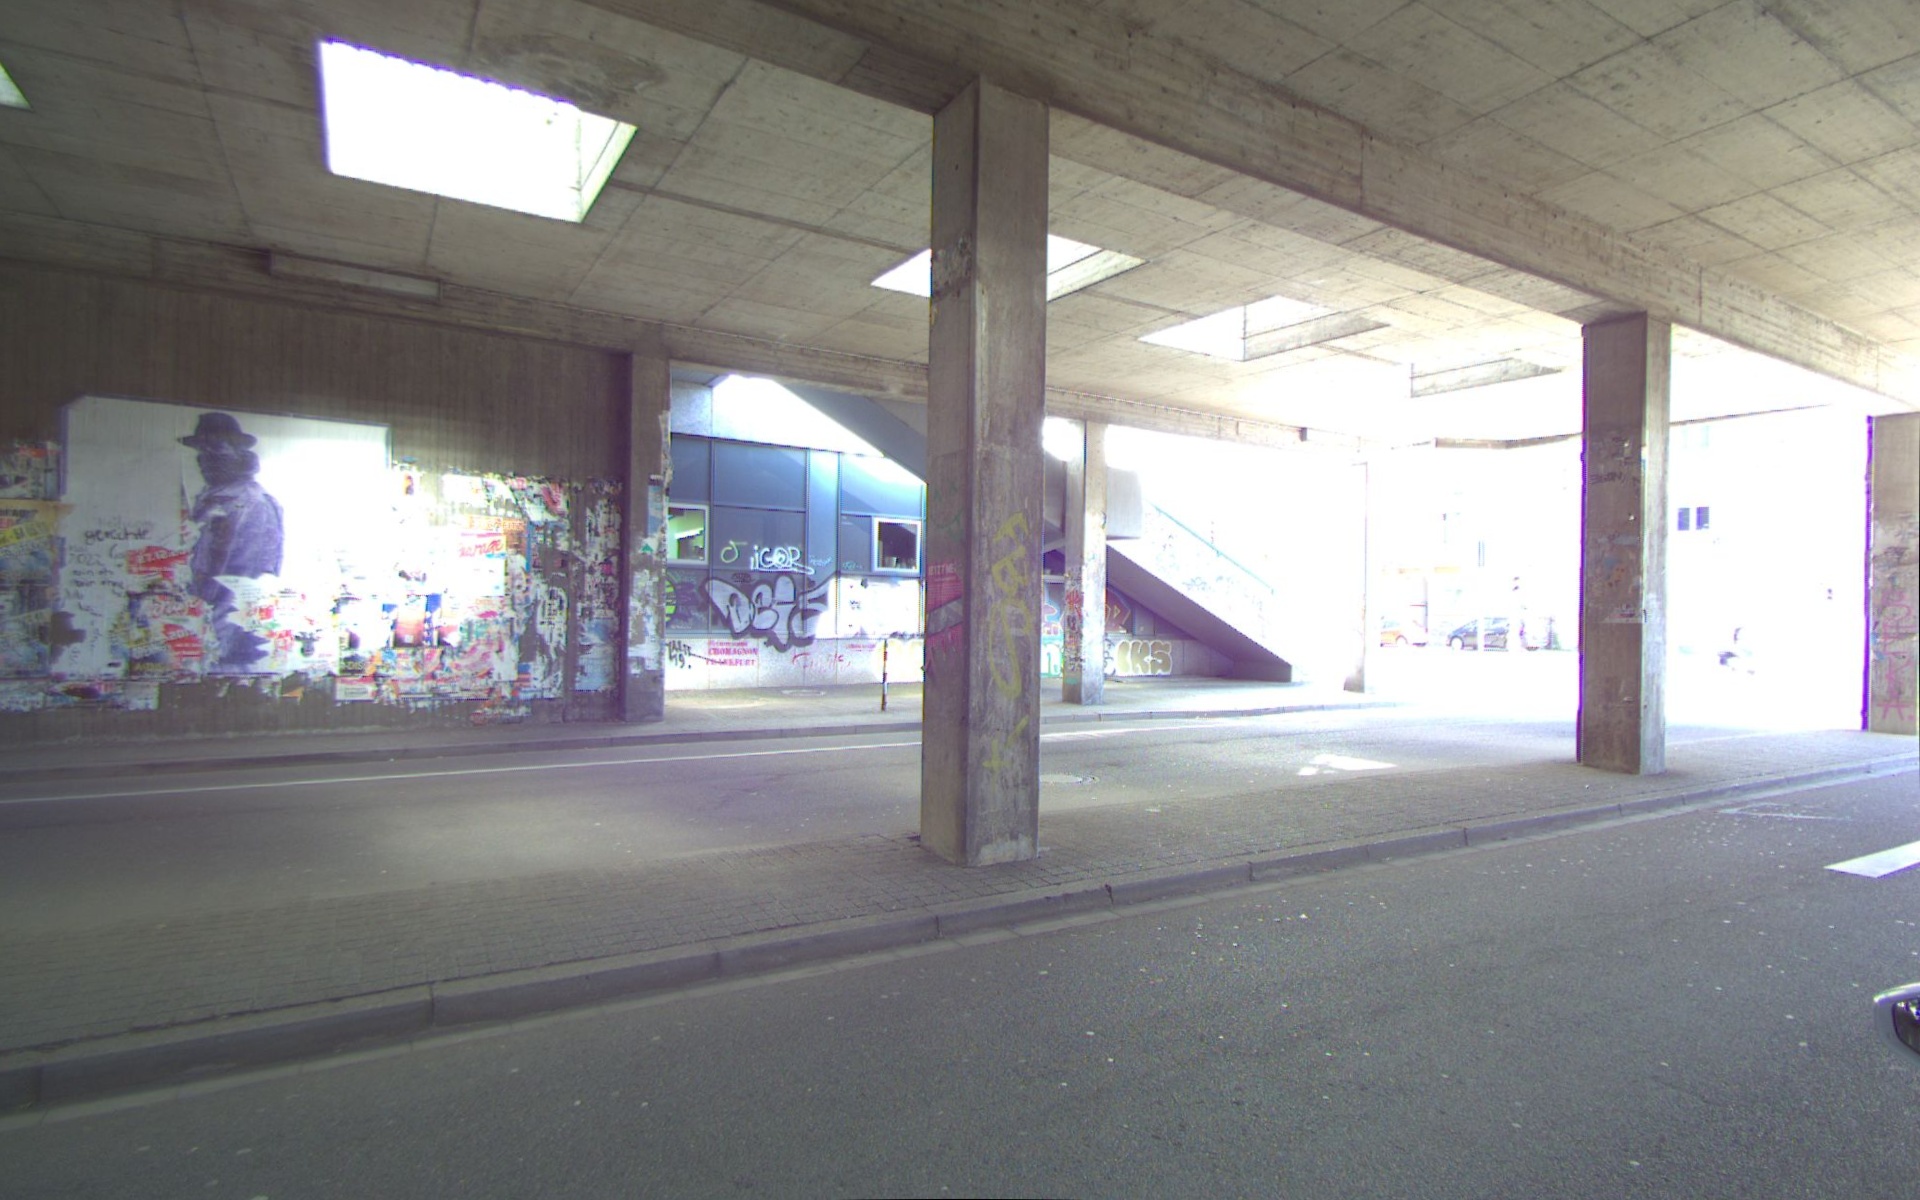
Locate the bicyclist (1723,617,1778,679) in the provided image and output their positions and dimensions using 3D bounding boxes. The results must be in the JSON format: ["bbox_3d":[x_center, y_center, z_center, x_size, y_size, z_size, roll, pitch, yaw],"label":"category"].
[{"bbox_3d":[19.415,1.169,24.682,0.737,1.471,0.865,1,-2,-32],"label":"bicyclist"}]

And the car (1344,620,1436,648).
[{"bbox_3d":[22.492,1.751,52.667,2.163,1.392,3.971,1,-1,-28],"label":"car"}]

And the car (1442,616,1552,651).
[{"bbox_3d":[25.414,1.565,47.657,2.240,1.571,4.111,1,-1,-29],"label":"car"}]

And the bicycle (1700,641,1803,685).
[{"bbox_3d":[19.377,1.518,24.629,0.737,1.022,1.845,1,-2,-31],"label":"bicycle"}]
